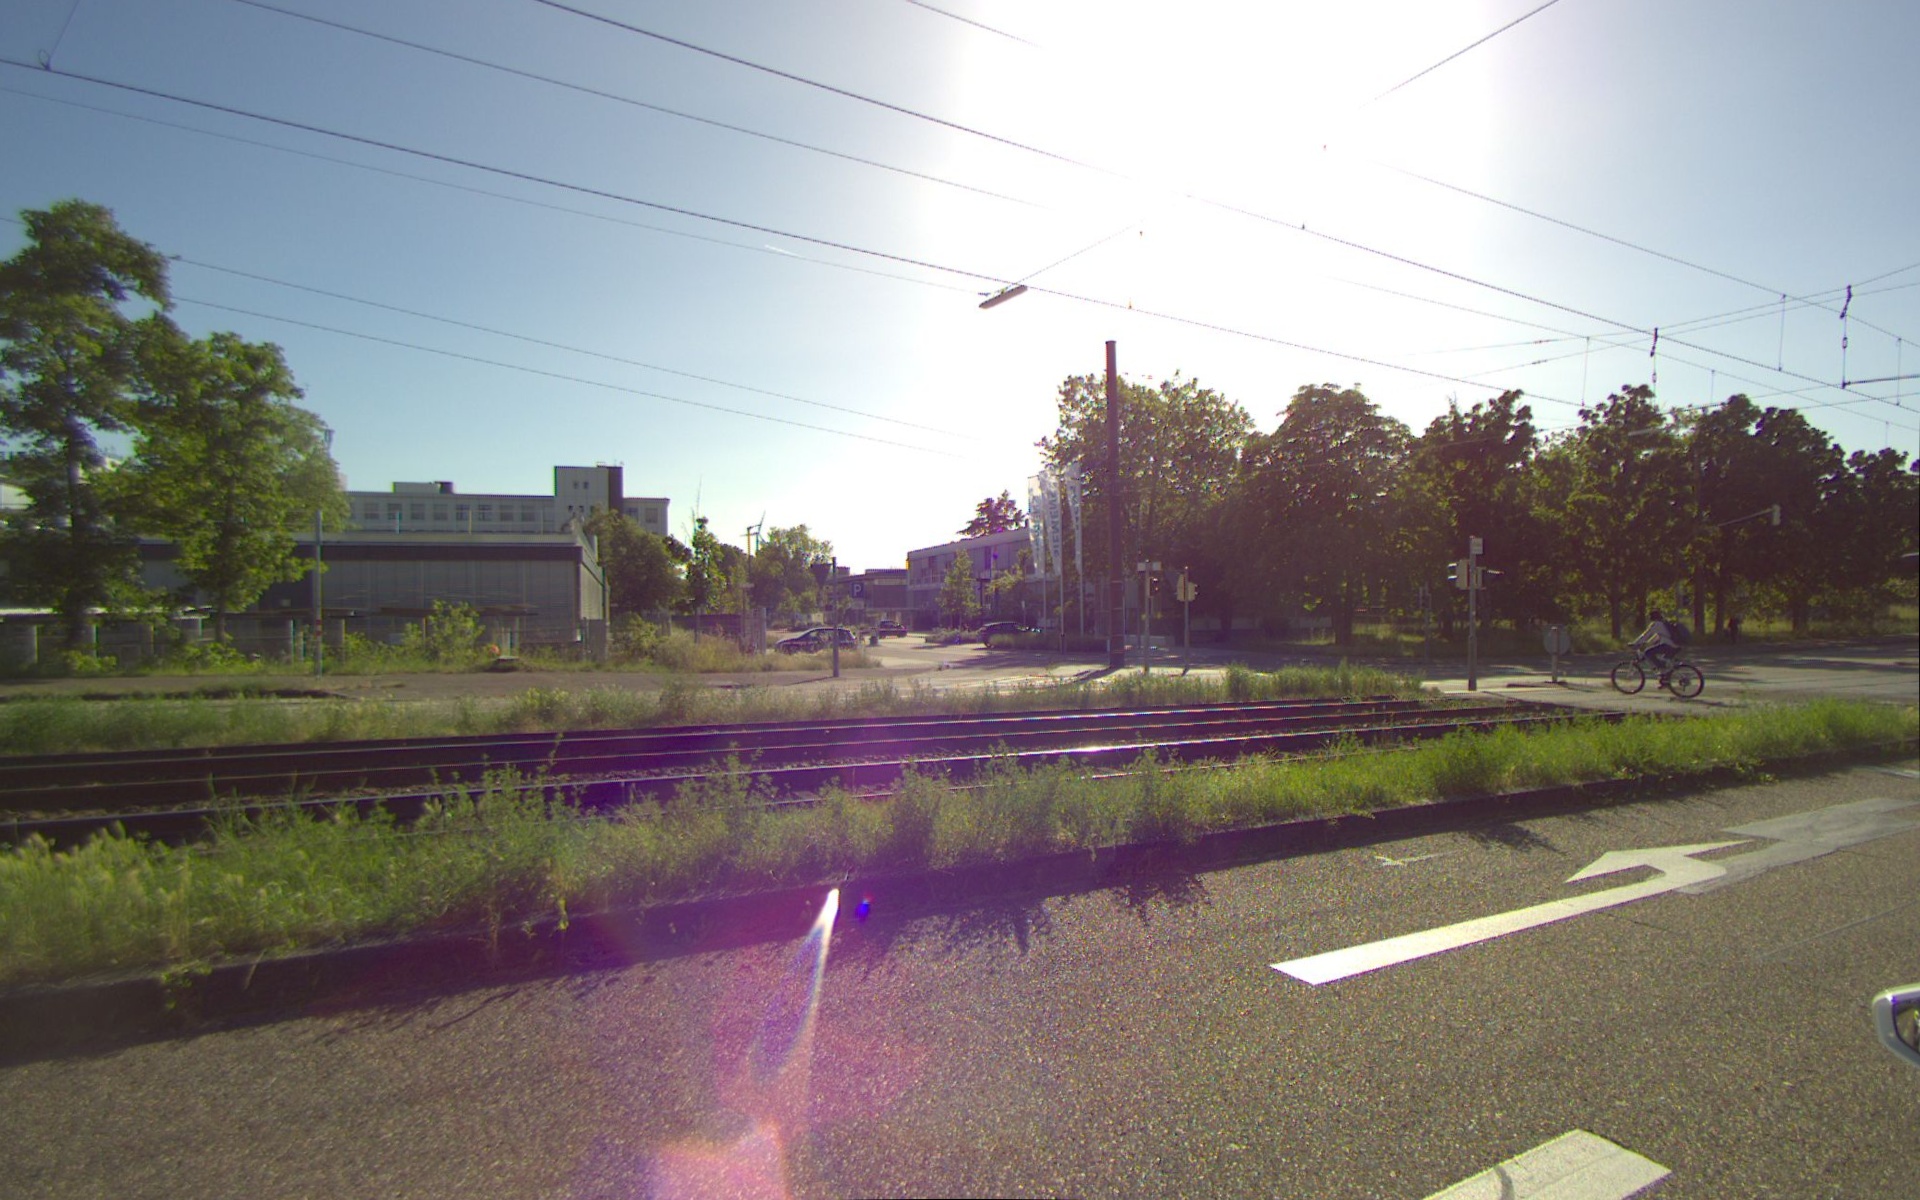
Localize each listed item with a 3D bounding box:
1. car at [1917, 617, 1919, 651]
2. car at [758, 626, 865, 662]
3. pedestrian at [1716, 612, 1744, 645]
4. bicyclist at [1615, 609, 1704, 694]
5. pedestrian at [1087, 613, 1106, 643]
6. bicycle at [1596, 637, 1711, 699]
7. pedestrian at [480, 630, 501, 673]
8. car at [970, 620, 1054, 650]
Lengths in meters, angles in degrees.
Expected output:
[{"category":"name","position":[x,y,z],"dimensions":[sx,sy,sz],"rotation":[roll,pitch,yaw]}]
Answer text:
[{"category":"car","position":[54.971,1.823,55.351],"dimensions":[4.739,1.834,2.082],"rotation":[0,-2,-32]},{"category":"car","position":[-7.685,2.252,51.912],"dimensions":[5.210,1.772,2.164],"rotation":[1,0,-19]},{"category":"pedestrian","position":[41.828,1.540,54.550],"dimensions":[0.919,1.757,0.761],"rotation":[0,0,-2]},{"category":"bicyclist","position":[13.896,1.001,19.971],"dimensions":[0.796,1.614,1.226],"rotation":[1,0,-31]},{"category":"pedestrian","position":[8.224,1.686,60.489],"dimensions":[0.807,1.811,0.950],"rotation":[0,0,-16]},{"category":"bicycle","position":[13.803,1.321,20.042],"dimensions":[0.691,1.117,1.766],"rotation":[1,0,-30]},{"category":"pedestrian","position":[-14.706,1.602,31.459],"dimensions":[0.432,1.318,0.441],"rotation":[0,0,18]},{"category":"car","position":[3.193,2.132,61.707],"dimensions":[4.768,1.751,2.041],"rotation":[1,0,-21]}]
